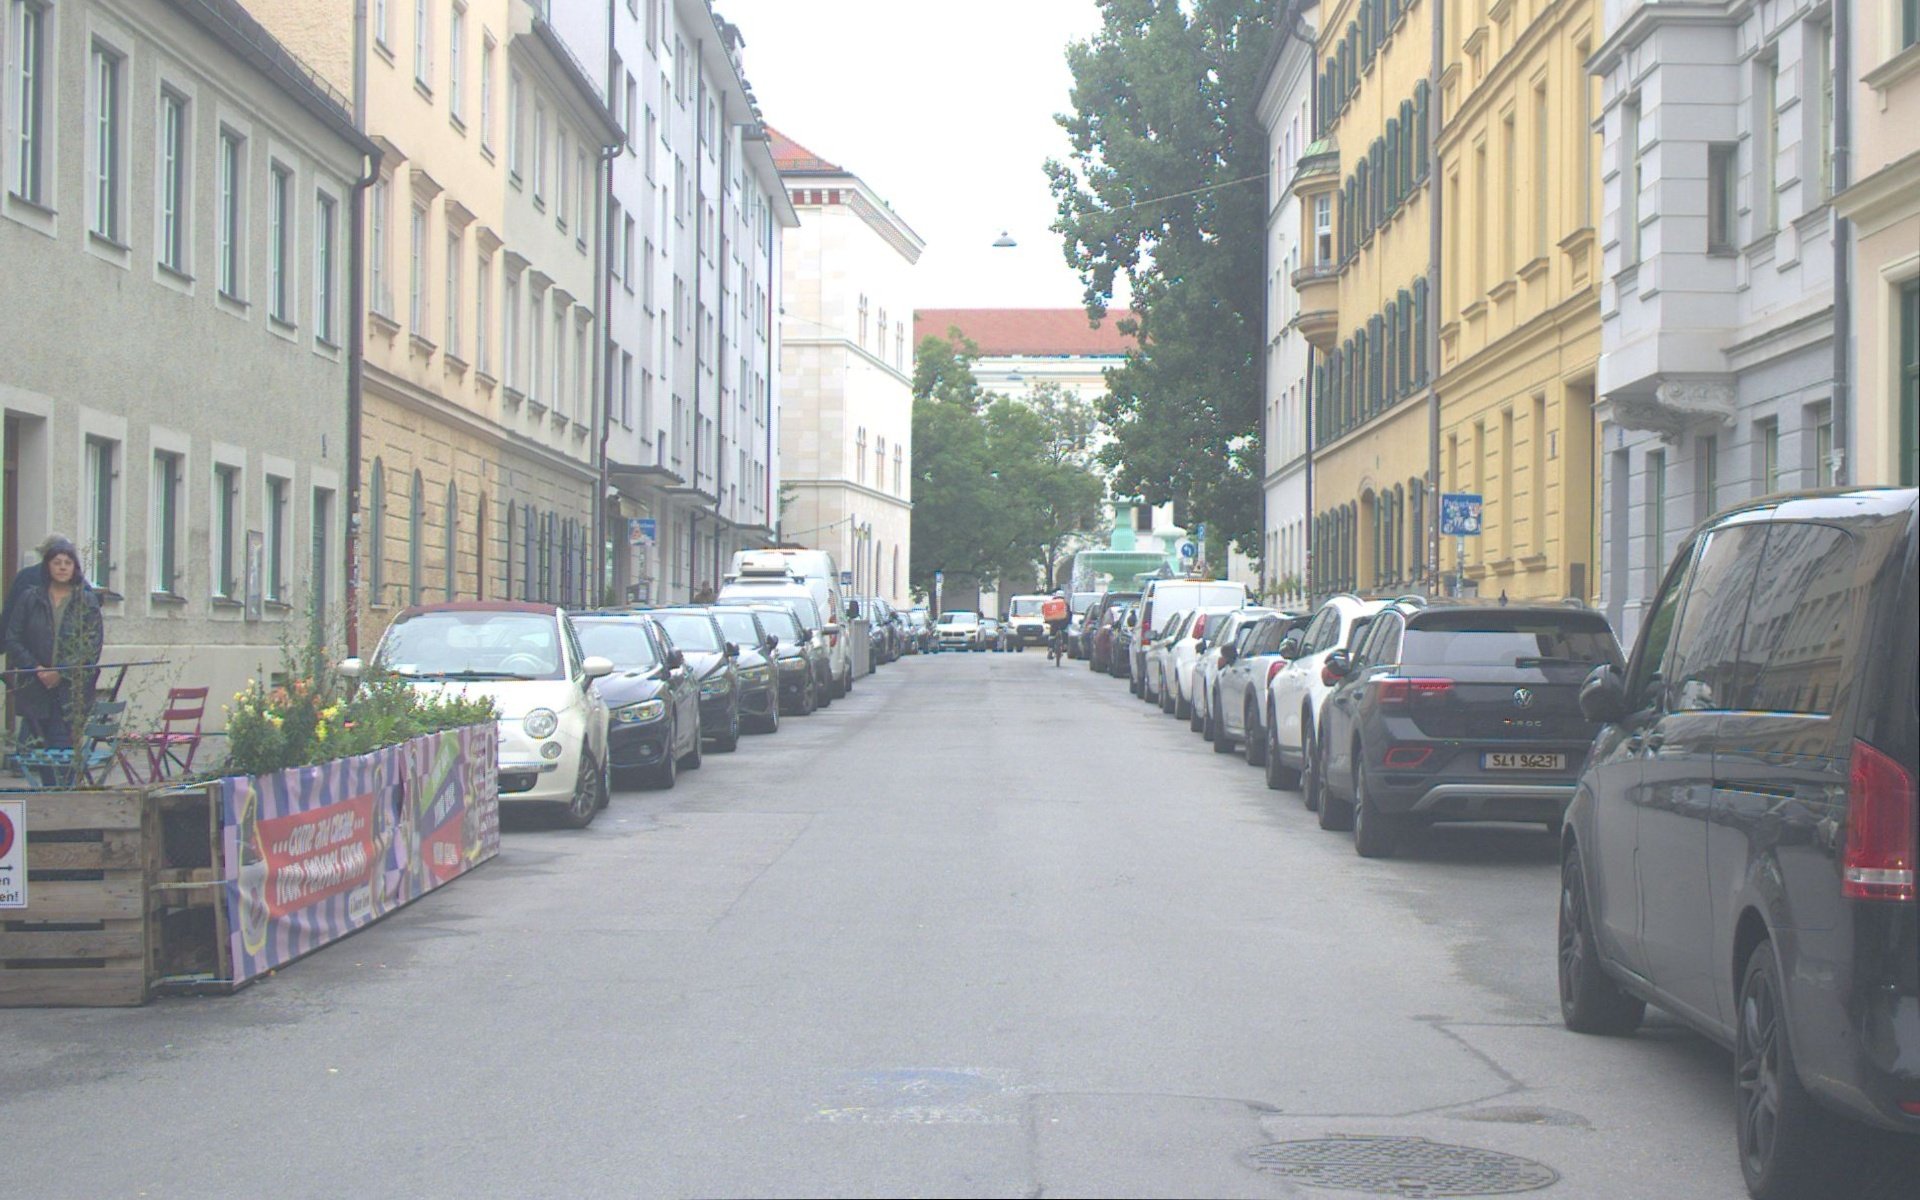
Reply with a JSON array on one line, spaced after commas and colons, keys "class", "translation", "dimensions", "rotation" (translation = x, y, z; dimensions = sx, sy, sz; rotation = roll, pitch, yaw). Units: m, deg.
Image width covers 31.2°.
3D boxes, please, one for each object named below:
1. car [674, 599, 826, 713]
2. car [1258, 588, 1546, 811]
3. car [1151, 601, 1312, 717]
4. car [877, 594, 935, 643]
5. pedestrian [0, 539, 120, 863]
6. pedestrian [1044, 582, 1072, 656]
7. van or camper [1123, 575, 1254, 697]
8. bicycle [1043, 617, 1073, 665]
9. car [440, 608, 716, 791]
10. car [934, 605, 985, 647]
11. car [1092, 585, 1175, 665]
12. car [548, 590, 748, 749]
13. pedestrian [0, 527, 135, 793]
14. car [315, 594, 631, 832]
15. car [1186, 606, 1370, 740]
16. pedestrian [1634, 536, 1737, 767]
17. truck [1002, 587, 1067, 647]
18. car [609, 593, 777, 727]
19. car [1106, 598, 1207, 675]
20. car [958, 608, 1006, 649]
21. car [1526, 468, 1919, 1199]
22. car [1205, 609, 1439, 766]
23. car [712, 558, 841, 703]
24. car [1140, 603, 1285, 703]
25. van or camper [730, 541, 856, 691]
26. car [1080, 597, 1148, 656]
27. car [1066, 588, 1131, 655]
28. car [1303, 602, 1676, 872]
[{"class": "car", "translation": [-2.693, 0.707, 44.897], "dimensions": [1.754, 1.404, 4.103], "rotation": [1, 0, -1]}, {"class": "car", "translation": [3.374, 0.725, 26.980], "dimensions": [1.743, 1.578, 4.466], "rotation": [1, 0, 1]}, {"class": "car", "translation": [3.558, 0.751, 45.642], "dimensions": [1.708, 1.449, 4.097], "rotation": [1, 0, -1]}, {"class": "car", "translation": [-1.835, 0.623, 117.099], "dimensions": [1.706, 1.604, 3.862], "rotation": [-1, 0, 3]}, {"class": "pedestrian", "translation": [-5.112, 0.563, 19.342], "dimensions": [0.528, 1.776, 0.877], "rotation": [0, -1, 1]}, {"class": "pedestrian", "translation": [2.282, 0.453, 80.105], "dimensions": [0.642, 1.708, 0.842], "rotation": [0, -1, 2]}, {"class": "van or camper", "translation": [3.634, 0.558, 55.458], "dimensions": [1.833, 1.865, 5.078], "rotation": [1, 0, 1]}, {"class": "bicycle", "translation": [2.283, 0.953, 80.012], "dimensions": [0.675, 1.091, 1.760], "rotation": [0, -1, 2]}, {"class": "car", "translation": [-3.123, 0.773, 28.938], "dimensions": [1.798, 1.335, 4.685], "rotation": [1, 1, 0]}, {"class": "car", "translation": [-0.021, 0.998, 131.531], "dimensions": [1.707, 1.576, 3.862], "rotation": [-1, 0, 3]}, {"class": "car", "translation": [4.110, 0.590, 81.804], "dimensions": [1.812, 1.791, 4.246], "rotation": [2, 0, 1]}, {"class": "car", "translation": [-3.106, 0.670, 34.866], "dimensions": [1.754, 1.491, 4.201], "rotation": [1, 0, -2]}, {"class": "pedestrian", "translation": [-6.483, 0.433, 24.860], "dimensions": [0.822, 1.891, 0.827], "rotation": [0, -1, 0]}, {"class": "car", "translation": [-3.269, 0.718, 23.706], "dimensions": [1.754, 1.470, 3.714], "rotation": [1, 0, -2]}, {"class": "car", "translation": [3.537, 0.785, 38.960], "dimensions": [1.708, 1.404, 4.814], "rotation": [1, 0, 1]}, {"class": "pedestrian", "translation": [6.353, 0.455, 30.139], "dimensions": [0.669, 1.974, 0.708], "rotation": [-3, -2, 1]}, {"class": "truck", "translation": [2.929, 0.680, 134.222], "dimensions": [2.121, 2.240, 6.184], "rotation": [0, -1, 5]}, {"class": "car", "translation": [-3.048, 0.657, 39.885], "dimensions": [1.816, 1.437, 4.132], "rotation": [-1, 0, -3]}, {"class": "car", "translation": [3.965, 0.736, 69.962], "dimensions": [1.812, 1.460, 4.246], "rotation": [2, 0, 1]}, {"class": "car", "translation": [0.911, 1.135, 137.646], "dimensions": [1.707, 1.576, 3.862], "rotation": [-1, 0, 3]}, {"class": "car", "translation": [3.054, 0.647, 10.330], "dimensions": [1.997, 1.858, 5.252], "rotation": [1, 0, 2]}, {"class": "car", "translation": [3.433, 0.797, 33.275], "dimensions": [1.708, 1.400, 4.207], "rotation": [1, 0, -1]}, {"class": "car", "translation": [-2.680, 0.437, 50.016], "dimensions": [1.754, 1.988, 4.626], "rotation": [1, 0, -3]}, {"class": "car", "translation": [3.668, 0.756, 50.503], "dimensions": [1.708, 1.388, 4.207], "rotation": [1, 0, -1]}, {"class": "van or camper", "translation": [-2.631, 0.260, 55.260], "dimensions": [1.754, 2.273, 5.273], "rotation": [1, 0, 0]}, {"class": "car", "translation": [4.281, 0.743, 96.157], "dimensions": [1.812, 1.609, 4.155], "rotation": [0, 0, 1]}, {"class": "car", "translation": [4.095, 0.642, 102.040], "dimensions": [1.852, 1.913, 4.769], "rotation": [0, 0, 1]}, {"class": "car", "translation": [3.233, 0.788, 21.755], "dimensions": [1.754, 1.516, 4.274], "rotation": [1, 0, 1]}]
